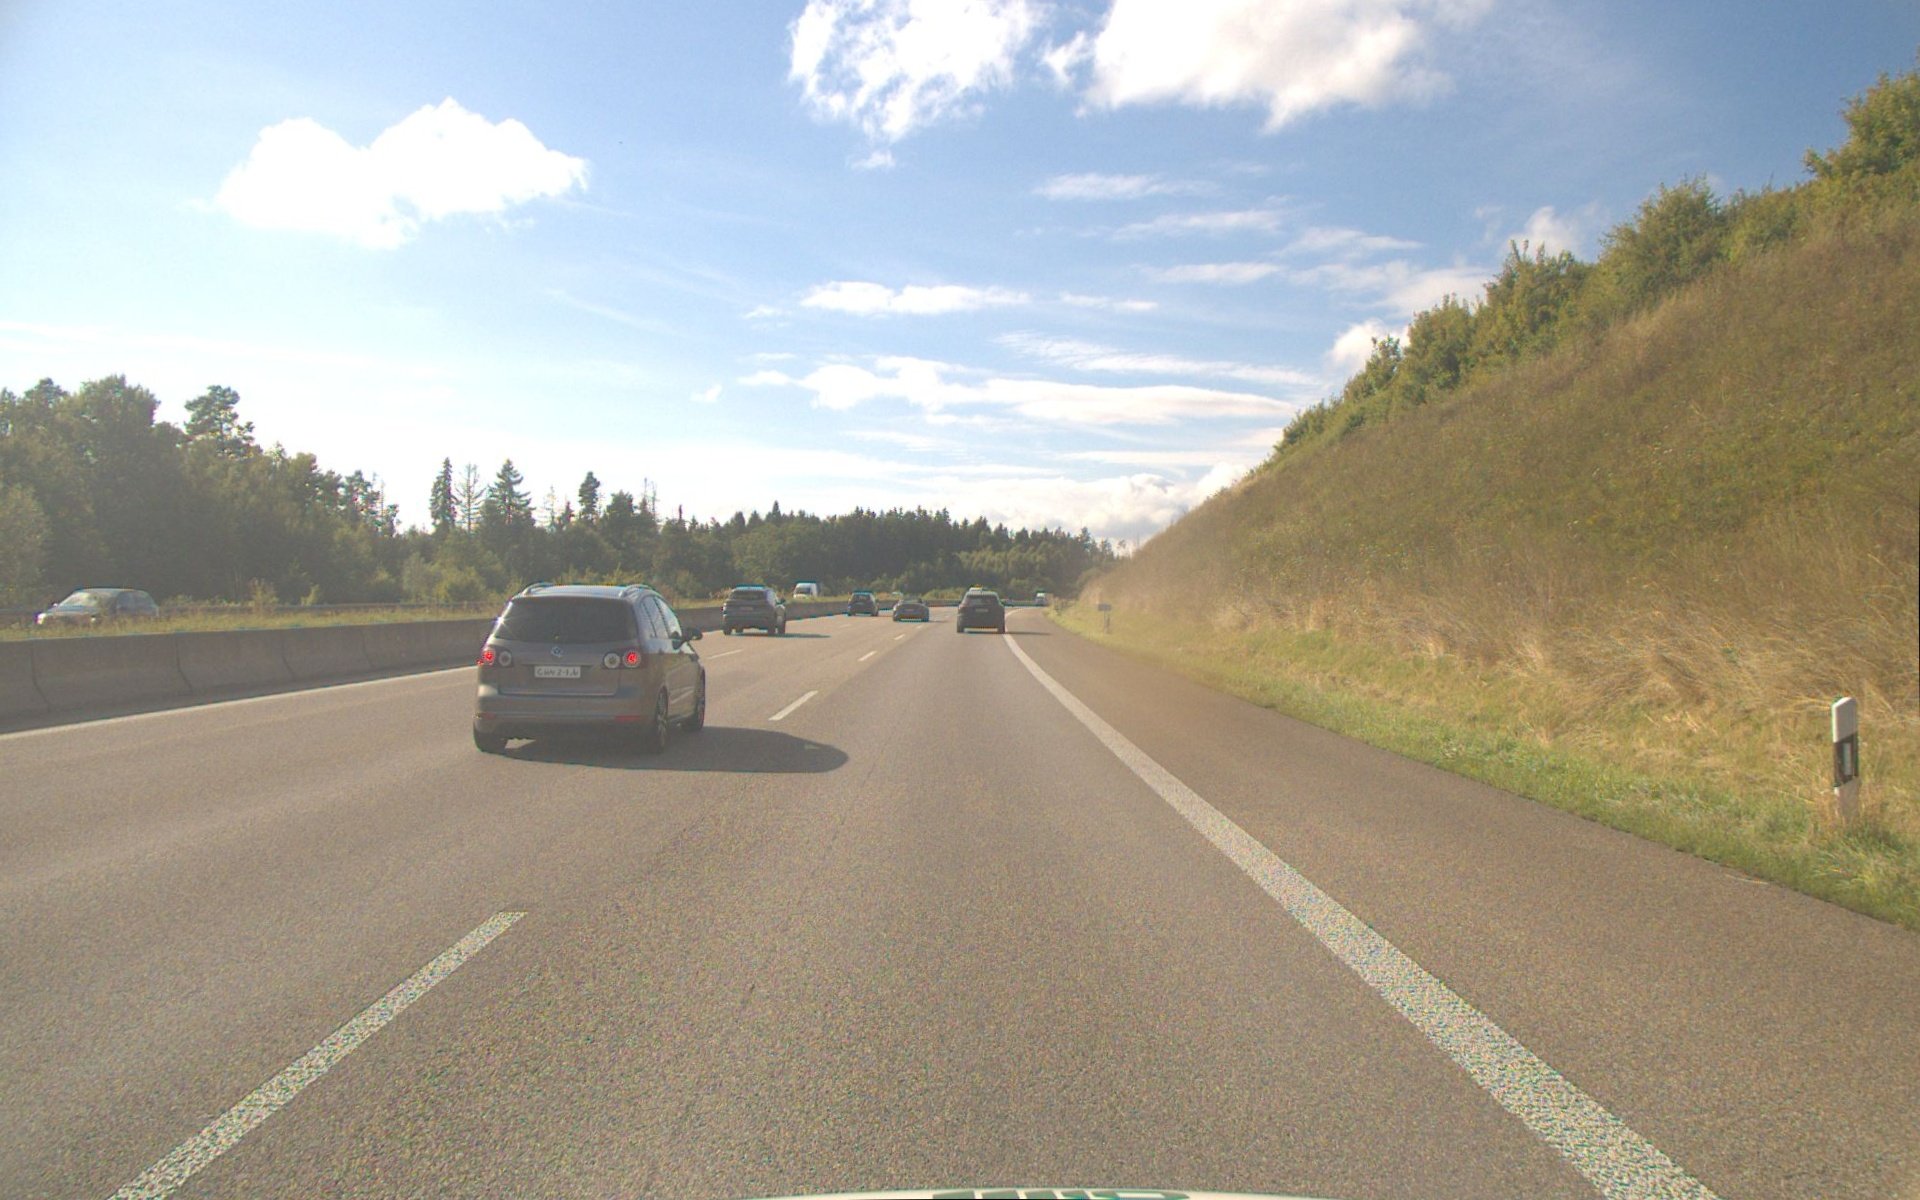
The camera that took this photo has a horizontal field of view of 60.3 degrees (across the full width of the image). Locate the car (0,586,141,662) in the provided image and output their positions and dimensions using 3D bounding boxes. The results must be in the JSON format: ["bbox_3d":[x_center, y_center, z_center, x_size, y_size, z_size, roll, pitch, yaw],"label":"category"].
[{"bbox_3d":[-22.184,0.546,40.787,1.953,1.777,4.049,0,0,0],"label":"car"}]

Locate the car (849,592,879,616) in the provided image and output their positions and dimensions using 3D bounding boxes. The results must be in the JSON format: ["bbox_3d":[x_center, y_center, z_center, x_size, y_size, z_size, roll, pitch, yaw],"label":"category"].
[{"bbox_3d":[-6.266,0.280,108.292,1.836,1.523,3.879,0,0,-1],"label":"car"}]

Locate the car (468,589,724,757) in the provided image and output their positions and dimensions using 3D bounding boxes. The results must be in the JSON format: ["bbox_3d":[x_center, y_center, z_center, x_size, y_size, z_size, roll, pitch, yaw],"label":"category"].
[{"bbox_3d":[-3.595,0.663,17.025,1.836,1.523,3.879,0,0,-1],"label":"car"}]

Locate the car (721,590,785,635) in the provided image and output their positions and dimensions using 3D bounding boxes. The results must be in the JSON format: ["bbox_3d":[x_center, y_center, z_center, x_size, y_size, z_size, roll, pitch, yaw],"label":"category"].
[{"bbox_3d":[-7.252,0.431,58.147,1.836,1.523,3.879,0,0,-1],"label":"car"}]

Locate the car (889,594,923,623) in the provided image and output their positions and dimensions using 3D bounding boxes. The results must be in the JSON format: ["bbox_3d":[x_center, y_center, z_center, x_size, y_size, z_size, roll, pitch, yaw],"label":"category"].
[{"bbox_3d":[-2.931,0.444,90.909,1.836,1.523,3.879,0,0,-1],"label":"car"}]

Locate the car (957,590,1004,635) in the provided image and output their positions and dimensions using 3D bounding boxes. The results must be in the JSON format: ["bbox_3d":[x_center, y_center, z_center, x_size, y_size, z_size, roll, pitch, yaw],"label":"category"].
[{"bbox_3d":[0.793,0.484,66.117,1.835,1.704,3.889,0,0,0],"label":"car"}]
